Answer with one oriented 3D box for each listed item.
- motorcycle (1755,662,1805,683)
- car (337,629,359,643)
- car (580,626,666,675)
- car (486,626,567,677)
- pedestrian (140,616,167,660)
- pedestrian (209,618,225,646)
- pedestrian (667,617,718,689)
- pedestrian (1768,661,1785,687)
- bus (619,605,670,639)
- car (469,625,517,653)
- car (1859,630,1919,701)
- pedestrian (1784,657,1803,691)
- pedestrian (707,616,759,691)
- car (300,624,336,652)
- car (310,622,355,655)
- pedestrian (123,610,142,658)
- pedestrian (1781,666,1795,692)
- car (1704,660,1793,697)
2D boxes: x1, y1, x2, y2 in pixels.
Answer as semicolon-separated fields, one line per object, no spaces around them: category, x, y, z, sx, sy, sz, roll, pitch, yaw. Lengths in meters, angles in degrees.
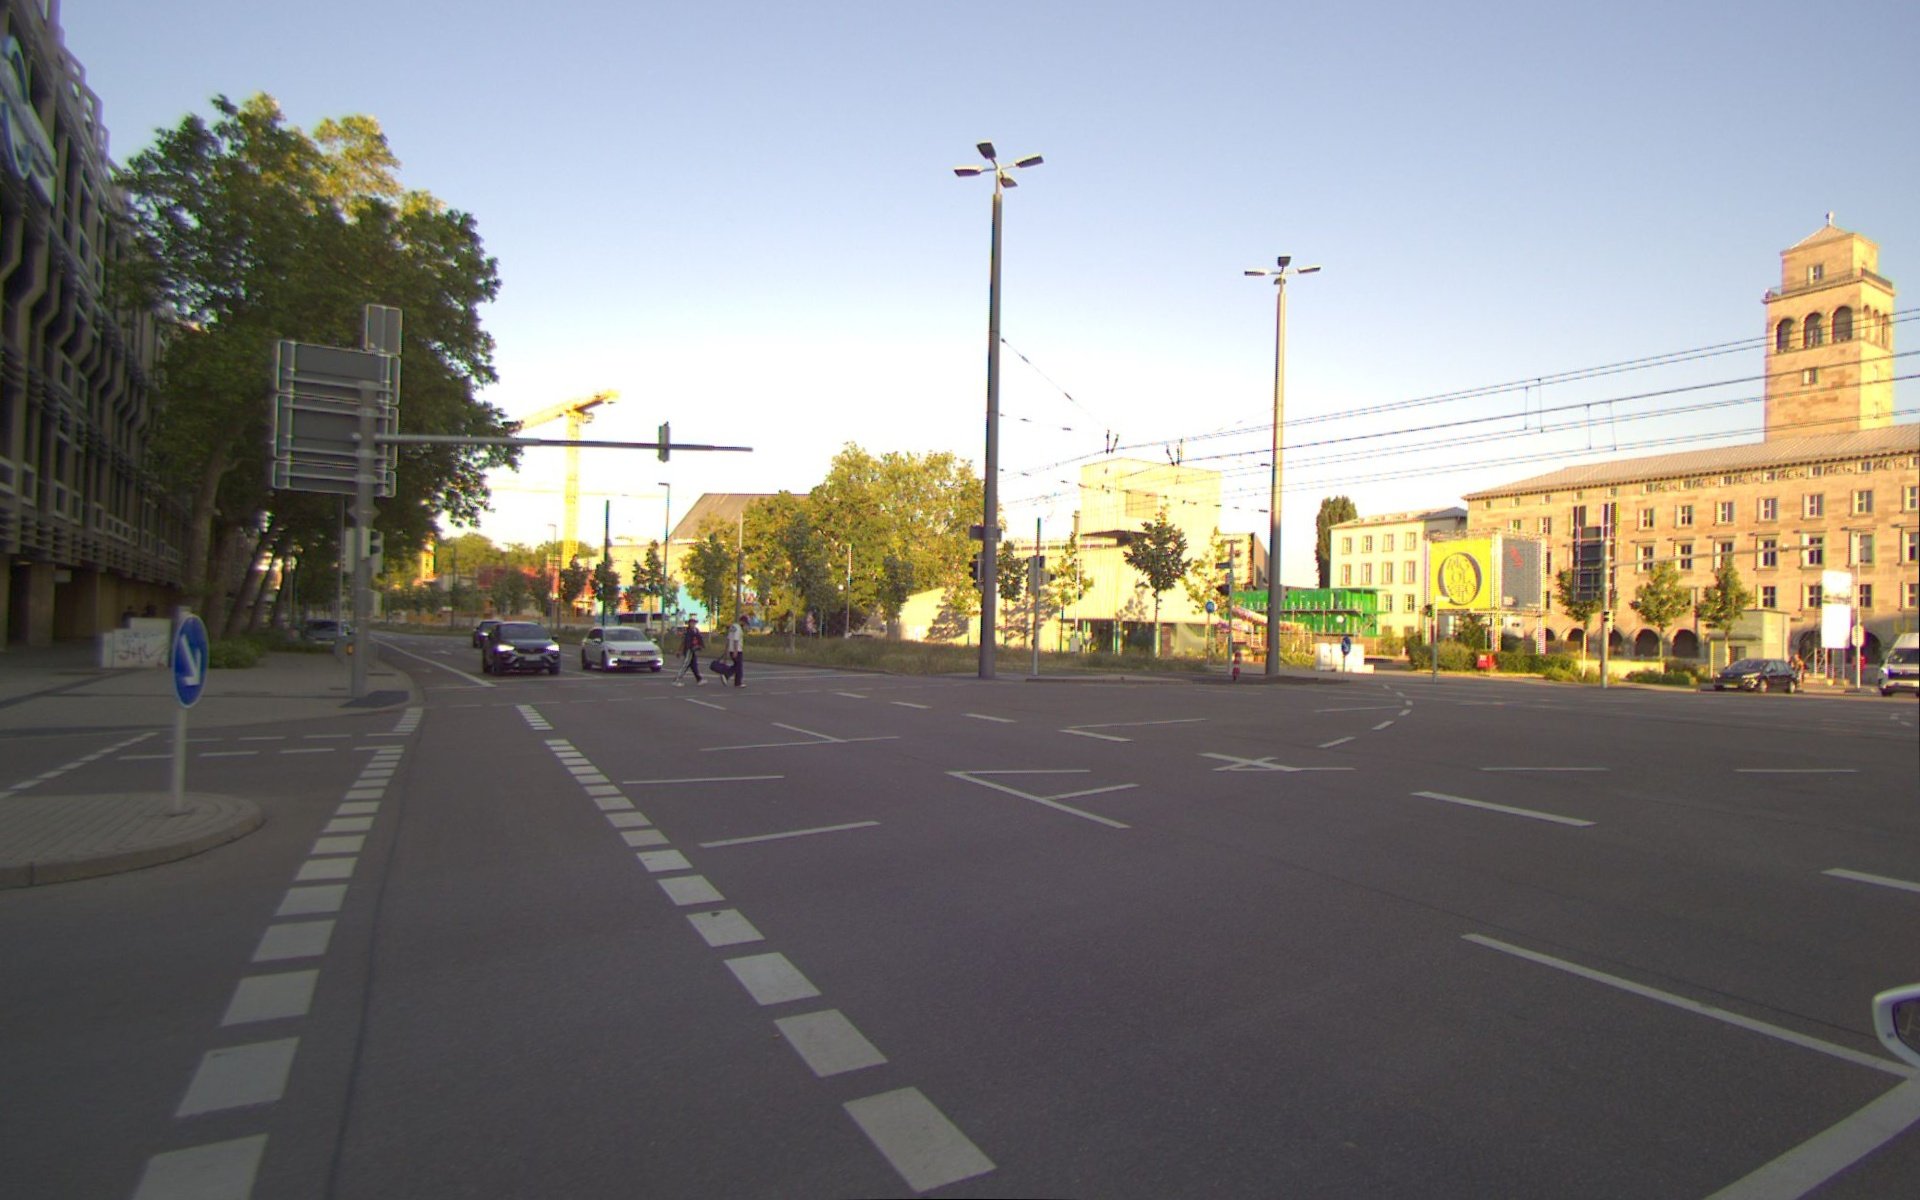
motorcycle;51.227;4.520;62.739;0.818;1.212;2.293;2;-2;-36
car;-69.945;4.079;114.707;1.726;1.605;4.544;1;-2;-36
car;-11.344;1.638;33.609;1.830;1.476;4.554;1;-2;-30
car;-13.533;1.561;31.259;1.830;1.476;3.920;1;-2;-30
pedestrian;-34.760;1.649;43.307;0.749;1.830;0.715;3;-1;-35
pedestrian;-49.805;2.164;67.294;0.749;1.830;0.715;3;-1;-35
pedestrian;-6.575;1.291;24.687;0.949;1.743;0.816;2;-2;-34
pedestrian;43.718;3.955;53.751;0.694;1.318;0.502;3;-1;-35
bus;-38.260;2.650;121.464;2.960;3.818;10.340;2;-2;-34
car;-27.680;2.276;59.461;1.833;1.605;4.546;1;-2;-35
car;40.281;2.735;41.989;6.011;2.812;2.269;2;-2;-30
pedestrian;44.030;3.921;53.073;0.455;1.767;0.617;3;-1;-35
pedestrian;-5.417;1.268;23.941;0.949;1.743;0.816;2;-2;-34
car;-39.097;2.299;61.222;1.723;1.605;3.764;1;-2;-31
car;-31.447;1.895;50.409;1.722;1.605;4.554;1;-2;-30
pedestrian;-35.632;1.466;43.265;0.512;2.040;0.576;3;-1;-35
pedestrian;43.448;4.144;52.706;0.455;1.318;0.418;3;-1;-35
car;34.944;3.431;44.508;4.111;1.485;1.813;2;-2;-31
